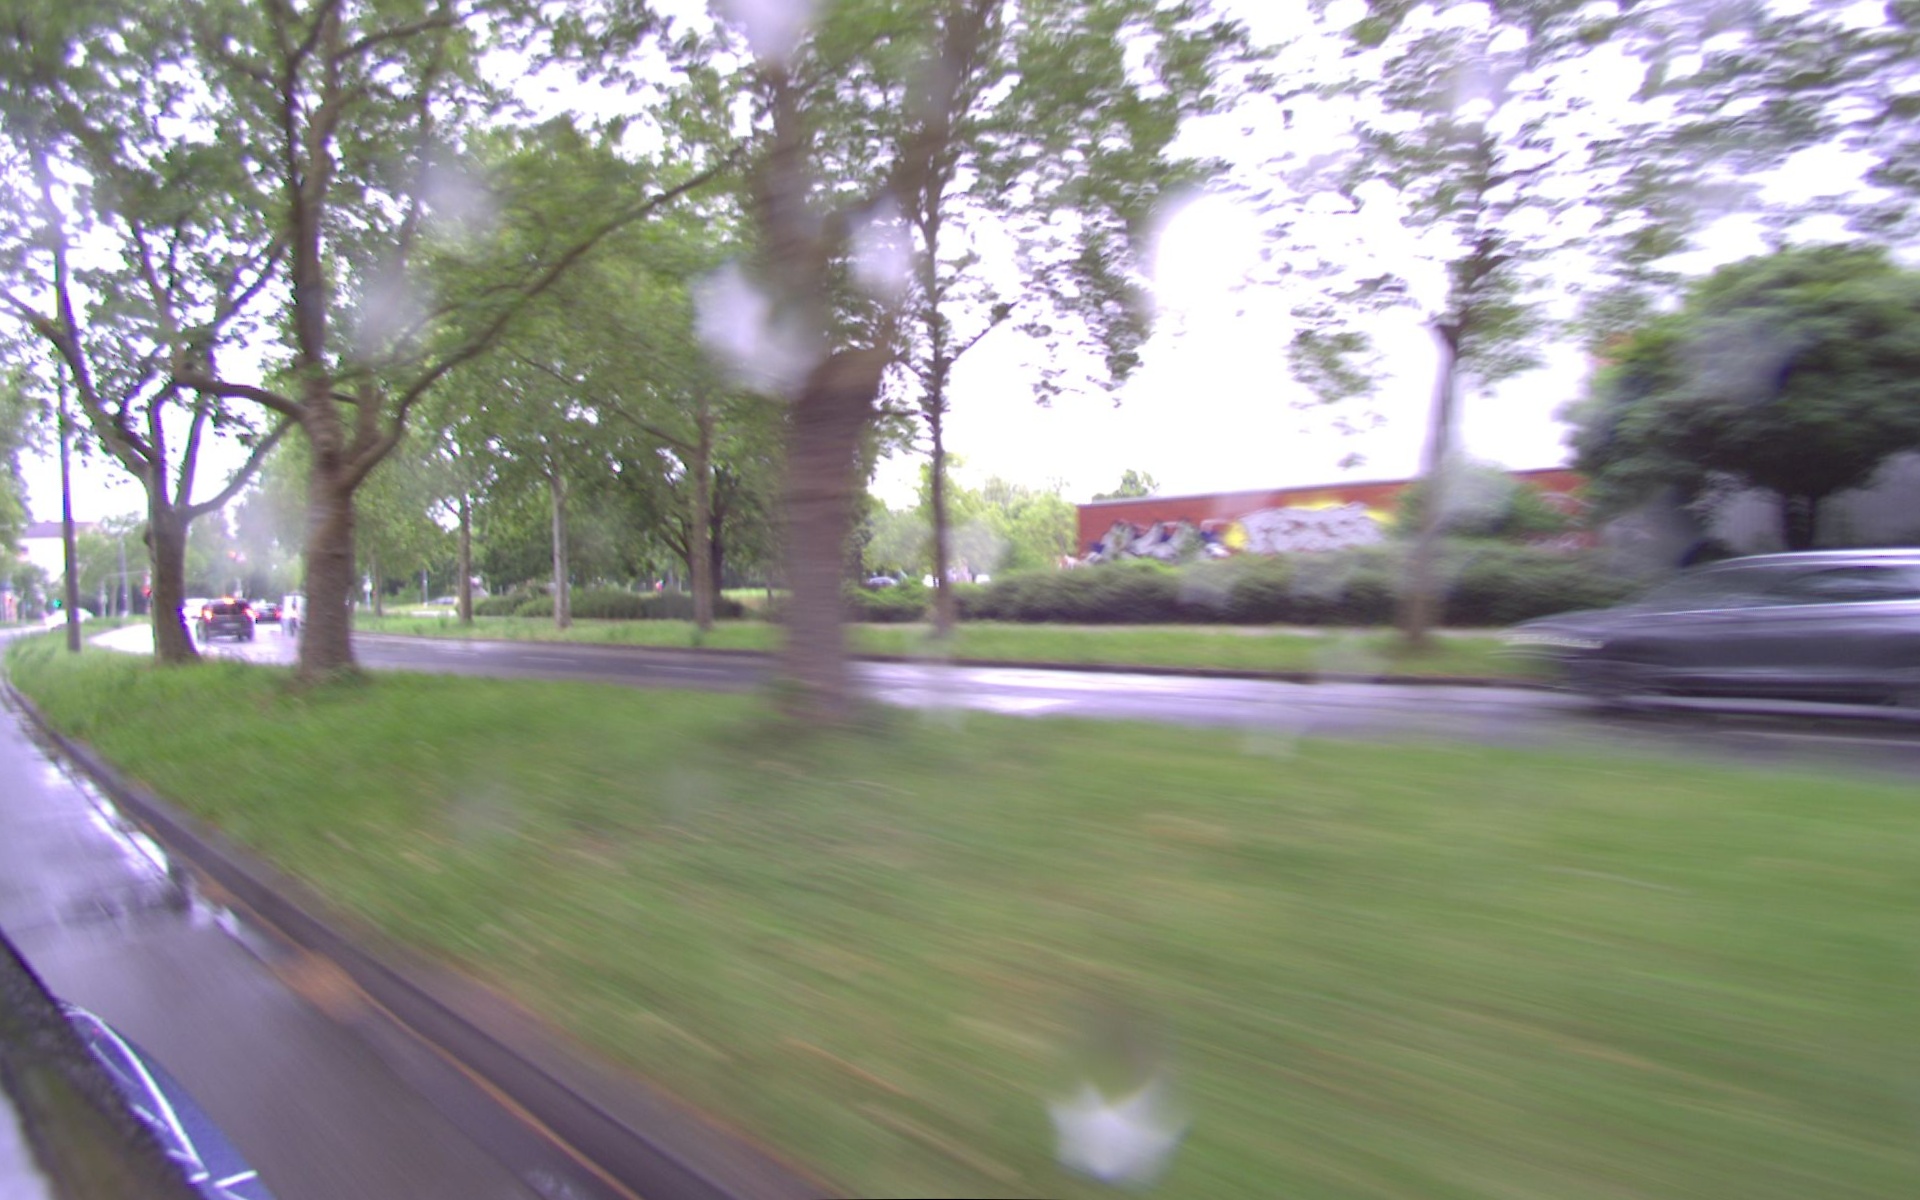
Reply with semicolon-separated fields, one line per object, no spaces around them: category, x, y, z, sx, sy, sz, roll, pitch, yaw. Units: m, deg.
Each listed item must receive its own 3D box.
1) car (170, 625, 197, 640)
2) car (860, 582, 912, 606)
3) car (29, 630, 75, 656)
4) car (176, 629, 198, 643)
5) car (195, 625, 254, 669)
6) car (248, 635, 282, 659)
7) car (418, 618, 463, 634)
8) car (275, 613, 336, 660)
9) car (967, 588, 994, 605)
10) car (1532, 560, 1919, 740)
car;-96.562;4.049;125.926;1.966;1.641;4.536;-3;1;-30
car;-7.818;-0.626;106.584;5.335;2.190;2.002;-3;1;-4
car;-65.604;3.090;73.175;1.968;1.641;4.532;-3;1;-36
car;-101.153;4.710;132.483;1.967;1.641;4.533;-3;1;-34
car;-33.131;2.063;45.557;2.004;1.749;4.965;-2;0;-37
car;-53.743;3.612;78.222;1.968;1.643;4.341;-3;1;-37
car;-62.298;3.121;121.369;4.444;1.641;2.006;-3;1;-19
car;-33.776;1.853;52.173;2.004;2.243;5.444;-2;0;-39
car;1.934;-0.369;98.044;1.969;1.548;4.505;-3;1;-6
car;8.323;0.443;10.024;4.364;1.573;1.726;-2;0;39
